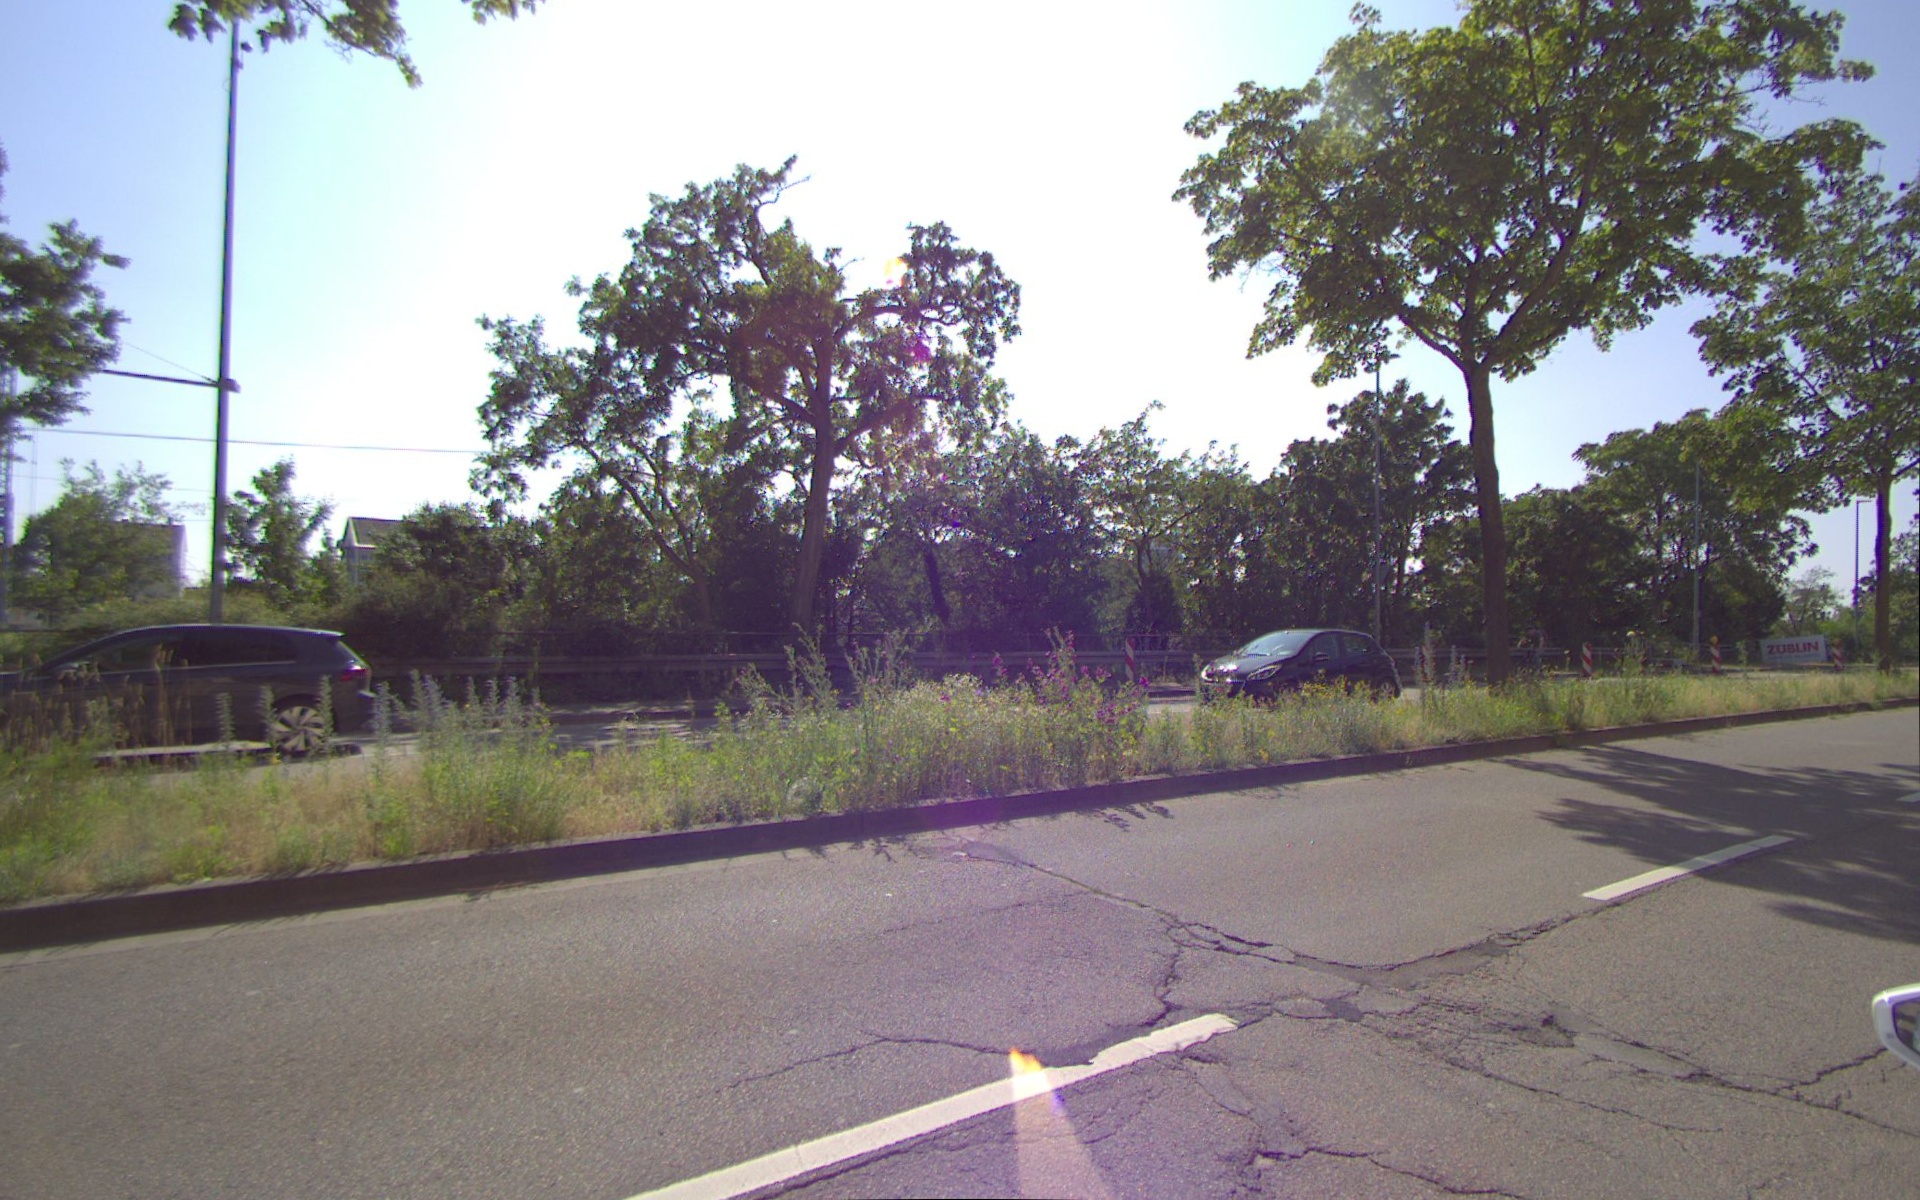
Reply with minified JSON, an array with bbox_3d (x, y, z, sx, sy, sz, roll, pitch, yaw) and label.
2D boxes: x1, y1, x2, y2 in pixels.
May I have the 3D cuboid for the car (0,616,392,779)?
[{"bbox_3d":[-8.601,0.975,11.004,3.961,1.550,1.785,2,-2,-36],"label":"car"}]

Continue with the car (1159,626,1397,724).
[{"bbox_3d":[5.493,1.214,17.217,4.041,1.493,1.753,2,-2,-33],"label":"car"}]

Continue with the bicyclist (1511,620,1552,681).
[{"bbox_3d":[17.774,1.558,31.241,1.005,1.856,0.693,1,-1,-30],"label":"bicyclist"}]

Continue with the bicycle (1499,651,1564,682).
[{"bbox_3d":[17.793,2.061,31.257,2.315,0.917,0.690,1,-2,-30],"label":"bicycle"}]

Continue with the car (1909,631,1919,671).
[{"bbox_3d":[44.481,2.276,44.903,4.679,1.756,1.982,2,-2,-33],"label":"car"}]
